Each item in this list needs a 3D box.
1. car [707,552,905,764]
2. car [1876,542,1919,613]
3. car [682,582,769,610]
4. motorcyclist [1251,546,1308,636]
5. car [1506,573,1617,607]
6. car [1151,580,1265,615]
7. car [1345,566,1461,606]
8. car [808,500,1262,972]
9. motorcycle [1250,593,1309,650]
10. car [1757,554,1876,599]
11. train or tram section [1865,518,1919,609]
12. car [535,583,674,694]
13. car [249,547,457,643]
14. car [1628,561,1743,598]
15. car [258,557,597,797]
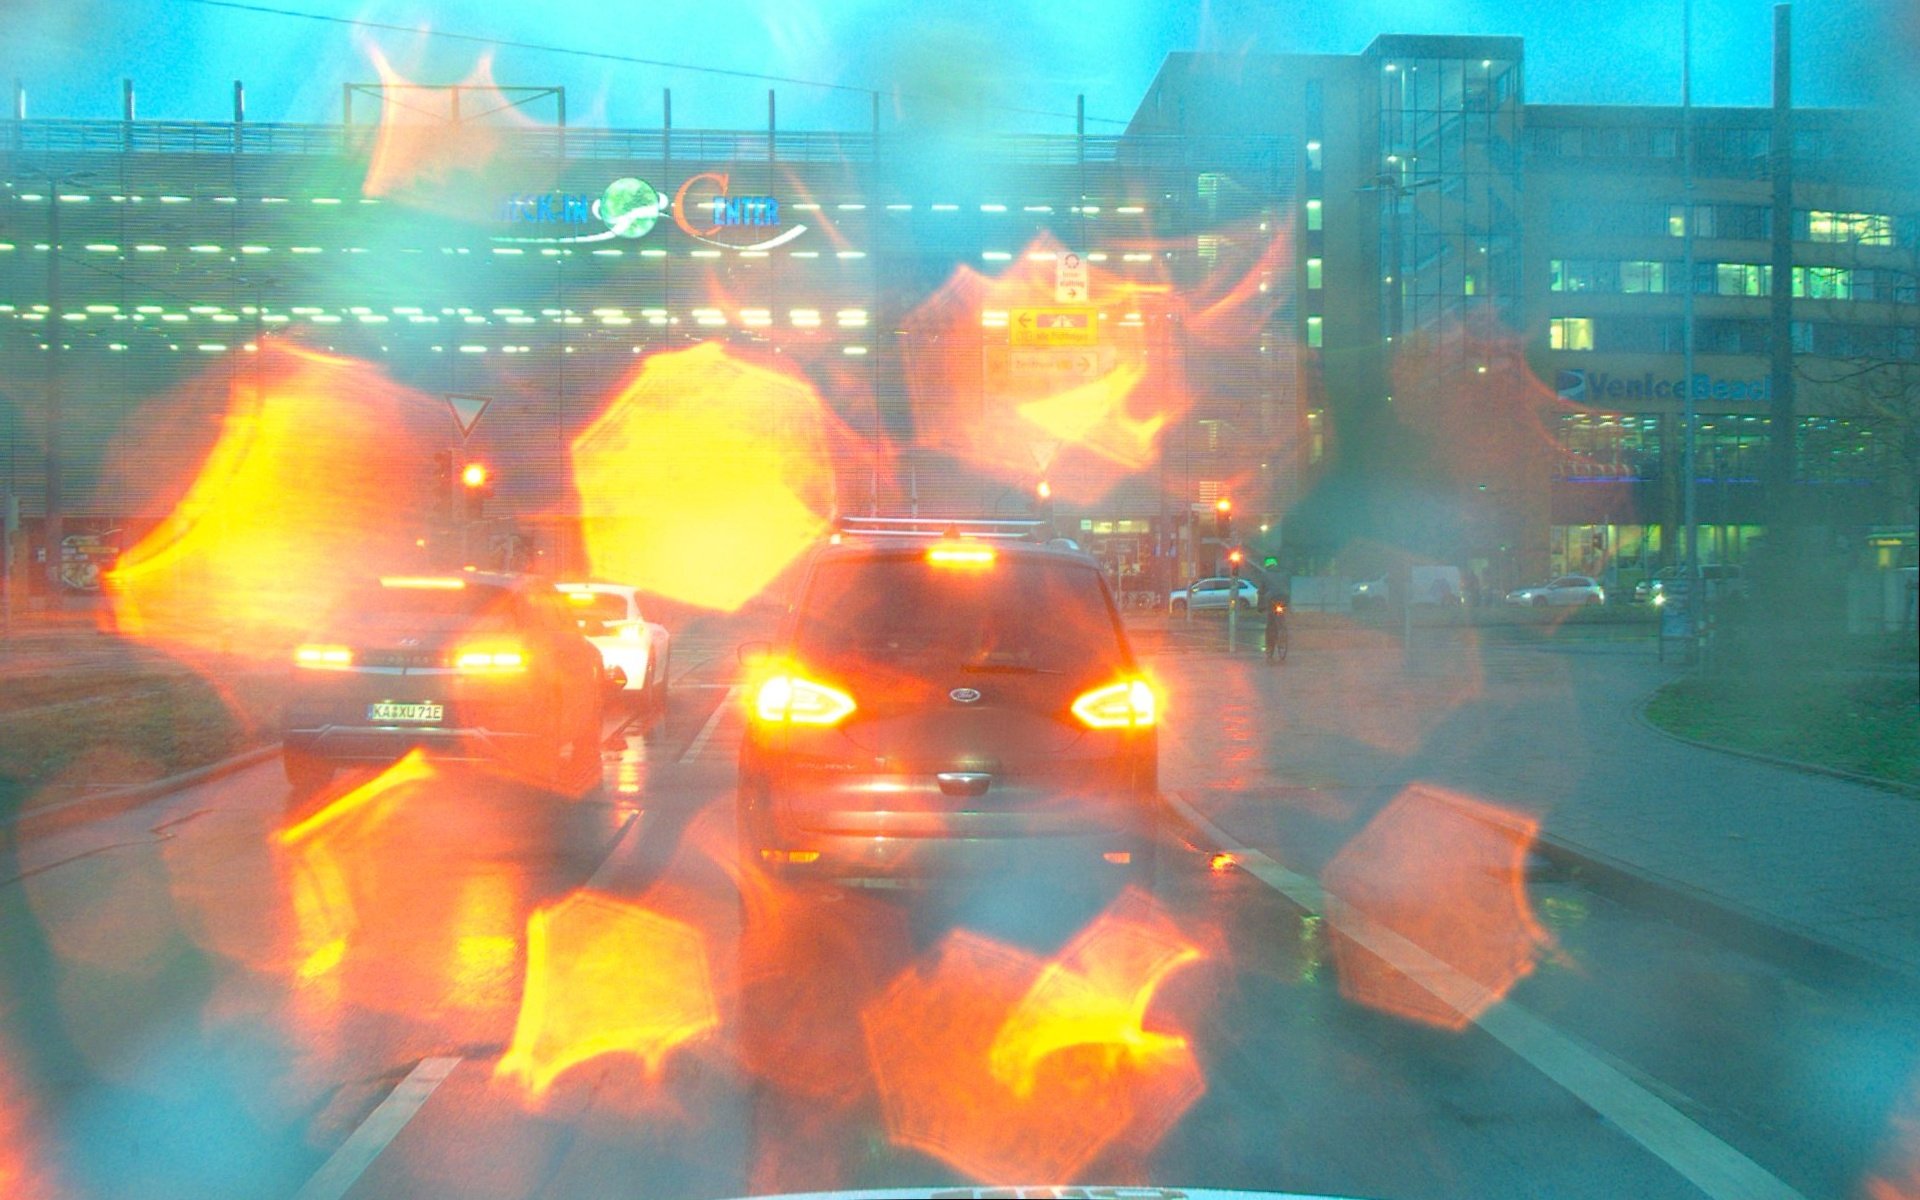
[{"bbox_3d":[-1.449,0.477,15.449,1.604,1.726,3.666,1,0,-6],"label":"car"},{"bbox_3d":[29.775,-0.602,49.196,4.287,2.048,1.990,2,1,-18],"label":"car"},{"bbox_3d":[-10.184,-0.171,71.958,3.687,1.186,1.678,-1,0,-7],"label":"car"},{"bbox_3d":[5.641,-0.162,29.247,0.850,1.561,1.109,0,0,4],"label":"motorcyclist"},{"bbox_3d":[25.717,-0.442,70.734,4.137,1.414,1.796,-1,0,-9],"label":"car"},{"bbox_3d":[10.242,-0.108,68.318,4.337,1.414,1.796,-1,0,-9],"label":"car"},{"bbox_3d":[18.543,-0.595,69.282,4.337,1.623,1.796,-1,0,-9],"label":"car"},{"bbox_3d":[0.160,0.507,8.476,1.701,1.768,4.244,2,0,-4],"label":"car"},{"bbox_3d":[5.647,0.368,29.329,0.835,0.988,1.582,0,0,4],"label":"motorcycle"},{"bbox_3d":[39.656,-1.100,76.588,4.748,2.035,1.796,-1,0,-8],"label":"car"},{"bbox_3d":[42.237,-1.436,63.596,16.340,3.317,2.326,-1,0,-17],"label":"train or tram section"},{"bbox_3d":[-4.469,0.432,21.201,1.512,1.273,4.059,0,0,-9],"label":"car"},{"bbox_3d":[-12.983,-0.132,35.636,3.918,1.907,1.994,-2,1,-13],"label":"car"},{"bbox_3d":[31.603,-0.889,72.100,4.349,1.561,1.796,-1,0,-9],"label":"car"},{"bbox_3d":[-4.018,0.499,13.137,1.719,1.601,3.995,0,0,-5],"label":"car"}]
